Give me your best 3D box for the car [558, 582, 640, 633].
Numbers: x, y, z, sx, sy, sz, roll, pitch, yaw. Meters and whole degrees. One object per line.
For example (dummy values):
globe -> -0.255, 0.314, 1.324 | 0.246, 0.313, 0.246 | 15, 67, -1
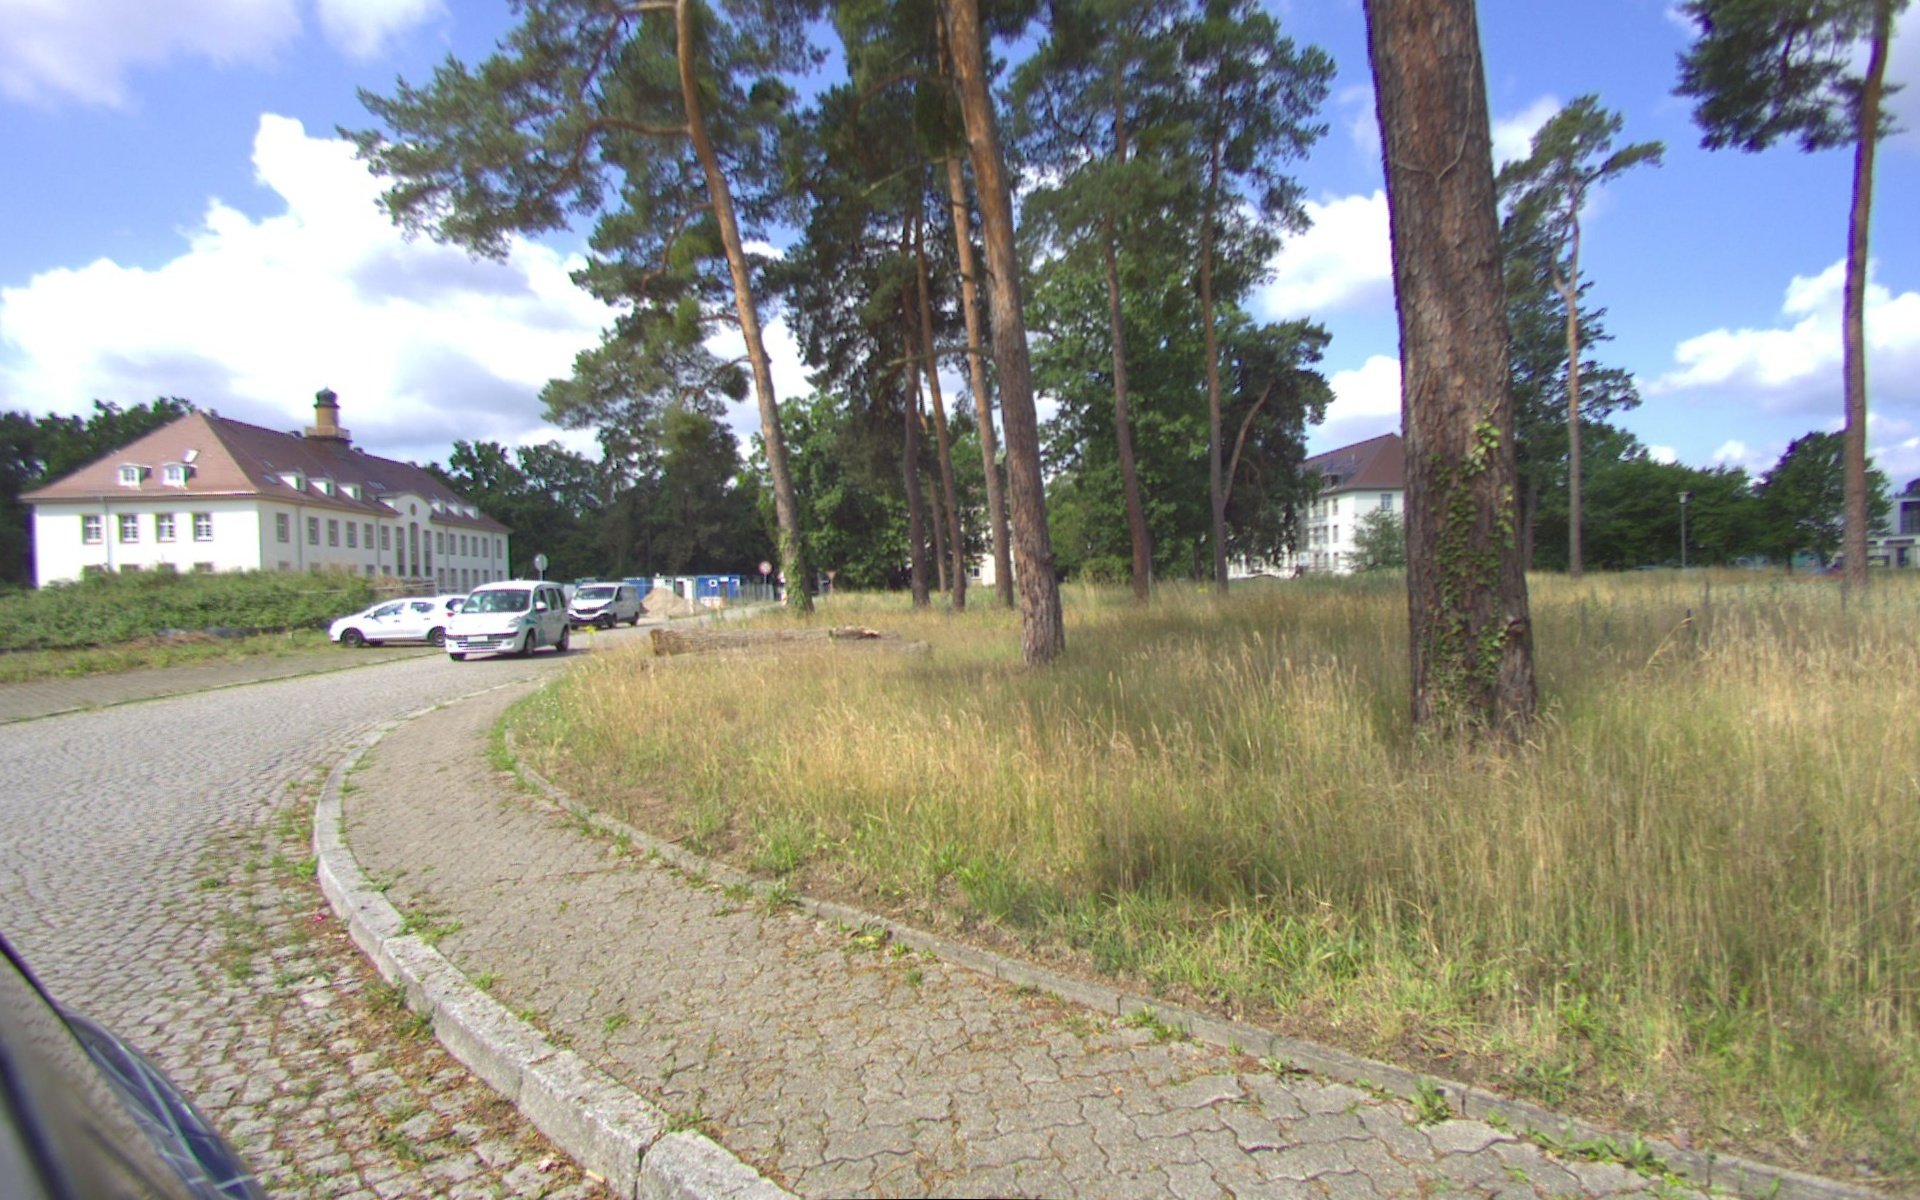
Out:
car -> -15.894, 0.263, 44.904 | 1.892, 2.068, 5.683 | -1, 1, -3

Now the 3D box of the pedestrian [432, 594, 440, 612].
pedestrian -> -53.716, 0.321, 103.741 | 0.487, 1.801, 0.504 | -2, 1, 18

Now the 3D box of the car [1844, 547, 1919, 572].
car -> 69.238, -3.022, 76.077 | 4.017, 1.715, 1.903 | -2, 1, -5

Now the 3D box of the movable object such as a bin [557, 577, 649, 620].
movable object such as a bin -> -22.232, -0.127, 63.323 | 2.137, 2.541, 5.610 | -1, 0, 24

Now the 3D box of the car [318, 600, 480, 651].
car -> -17.155, 0.752, 31.092 | 3.992, 1.475, 1.707 | 0, 1, -6

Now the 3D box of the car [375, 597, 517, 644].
car -> -17.257, 0.667, 34.133 | 3.937, 1.518, 1.749 | 0, 1, -6

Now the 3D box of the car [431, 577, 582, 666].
car -> -10.798, 0.455, 24.511 | 1.812, 1.883, 4.836 | -2, 0, -5
